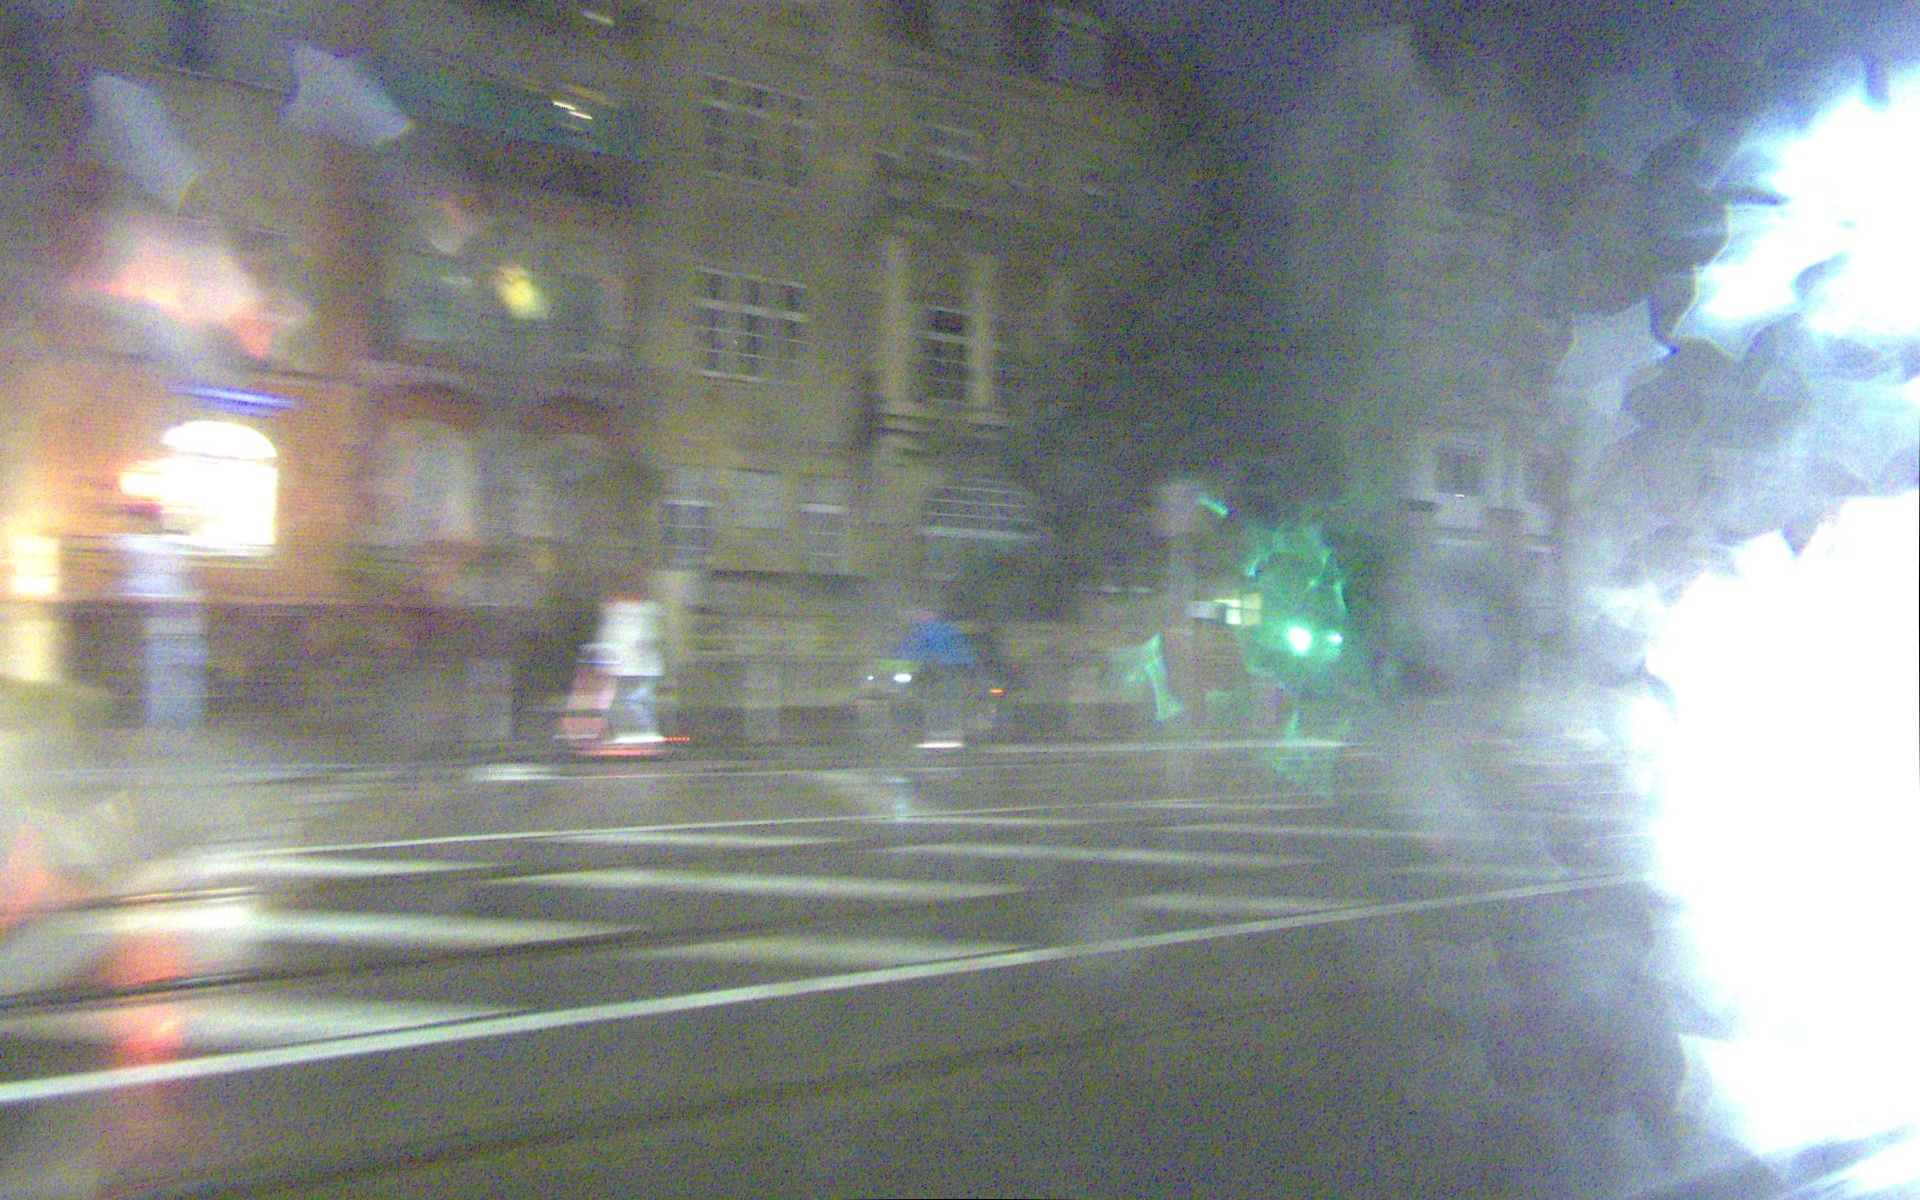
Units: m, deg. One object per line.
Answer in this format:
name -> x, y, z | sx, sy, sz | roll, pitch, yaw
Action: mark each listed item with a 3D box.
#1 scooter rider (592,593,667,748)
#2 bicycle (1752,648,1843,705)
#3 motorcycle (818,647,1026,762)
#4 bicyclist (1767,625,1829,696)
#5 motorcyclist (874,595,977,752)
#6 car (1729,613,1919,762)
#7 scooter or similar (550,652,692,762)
scooter rider -> -3.561, 0.744, 10.865 | 0.641, 1.594, 0.640 | 3, 1, -13
bicycle -> 18.390, 1.687, 22.055 | 1.870, 1.156, 0.653 | 3, 1, -21
motorcycle -> -0.431, 1.198, 11.640 | 2.289, 1.246, 0.707 | 2, -3, -18
bicyclist -> 18.377, 1.318, 22.038 | 0.855, 1.484, 0.653 | 3, 1, -21
motorcyclist -> -0.412, 0.861, 11.794 | 1.012, 1.753, 0.707 | 2, -3, -18
car -> 13.588, 1.231, 14.519 | 4.469, 1.894, 1.892 | 2, -2, -21
scooter or similar -> -3.621, 1.142, 10.824 | 1.346, 1.066, 0.640 | 3, 1, -13
